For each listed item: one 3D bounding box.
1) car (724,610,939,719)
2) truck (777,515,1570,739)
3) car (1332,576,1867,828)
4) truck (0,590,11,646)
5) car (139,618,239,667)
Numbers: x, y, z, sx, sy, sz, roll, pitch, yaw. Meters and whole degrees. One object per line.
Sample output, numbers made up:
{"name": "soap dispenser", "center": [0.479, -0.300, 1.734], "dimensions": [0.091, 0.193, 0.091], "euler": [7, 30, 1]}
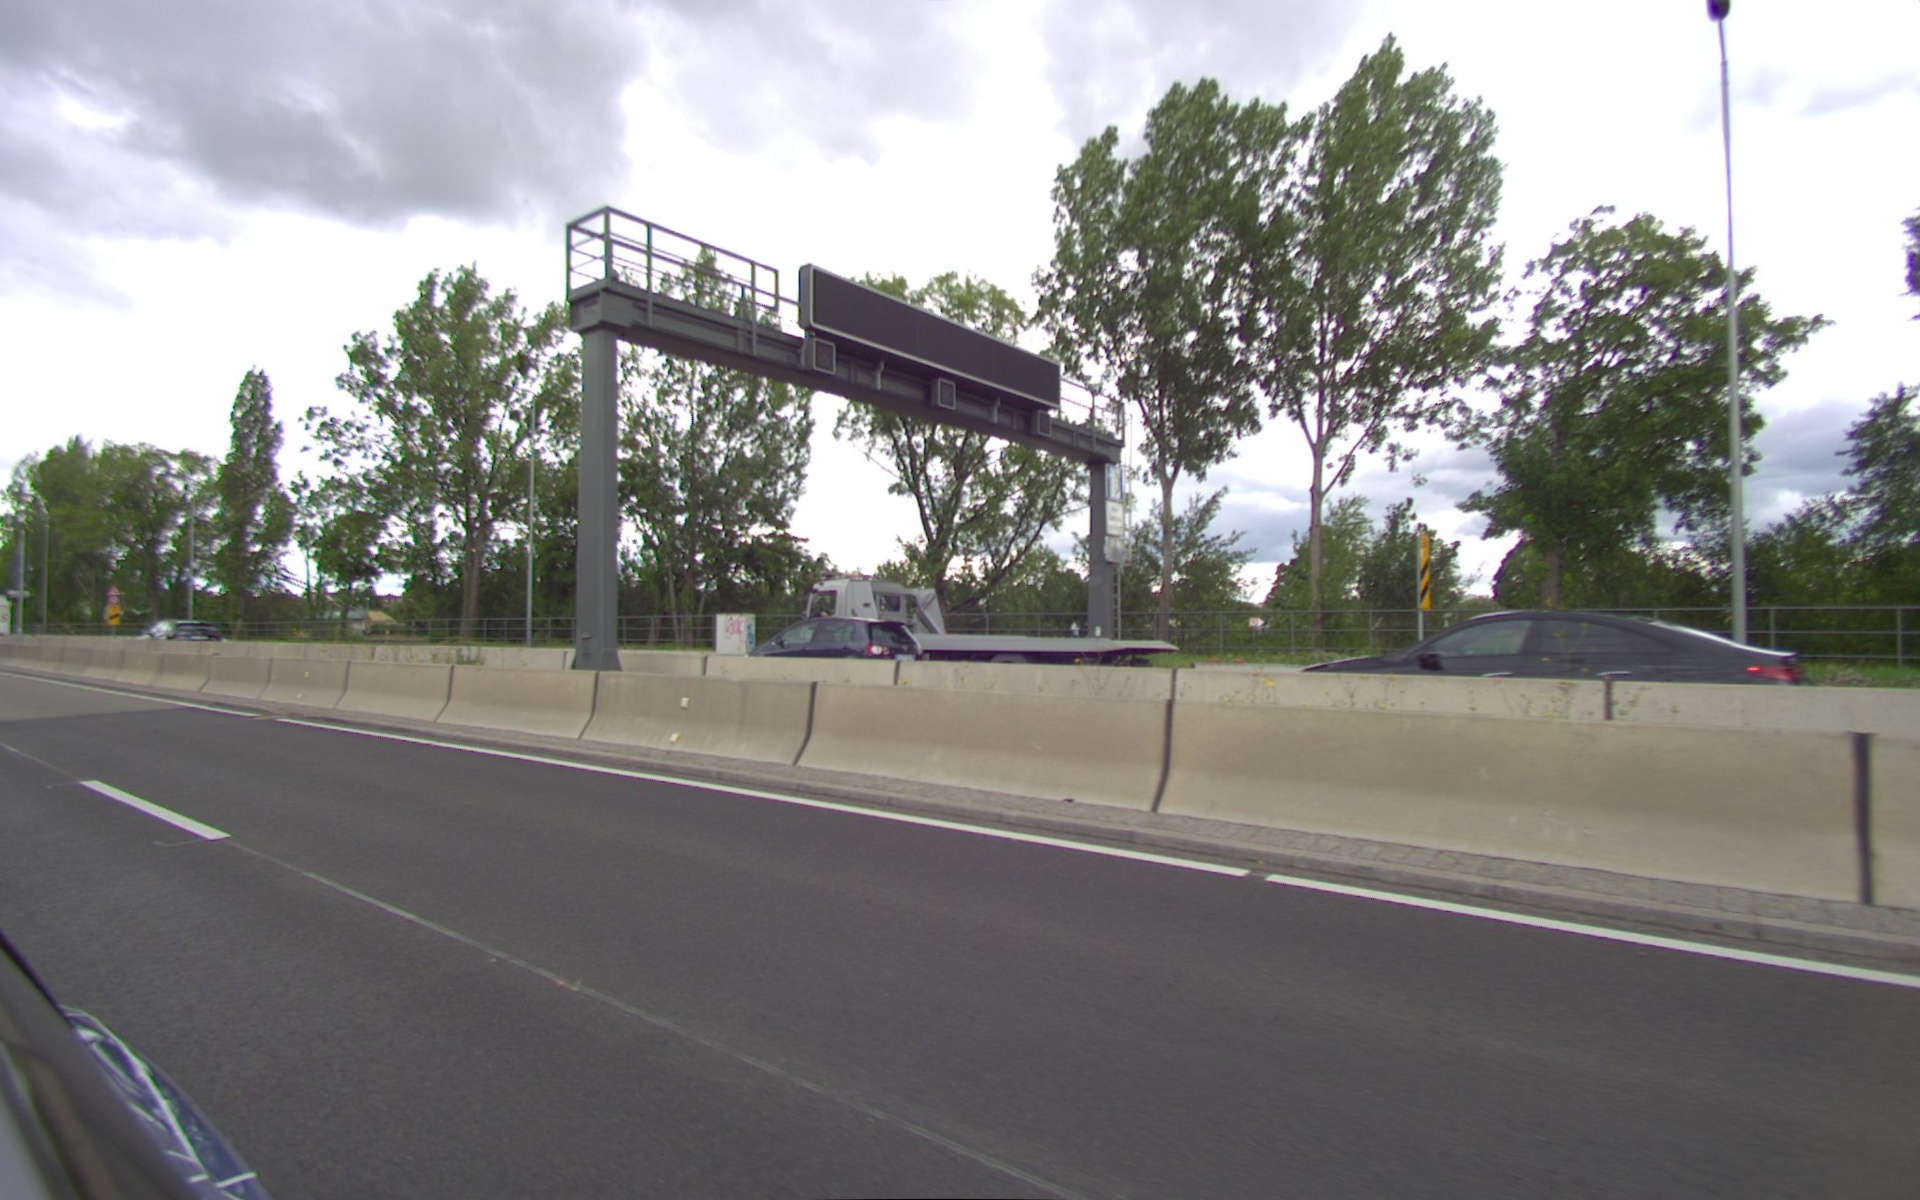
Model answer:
{"name": "car", "center": [-2.594, 1.210, 19.966], "dimensions": [4.094, 1.891, 1.800], "euler": [-2, 0, 38]}
{"name": "truck", "center": [2.755, 0.552, 20.193], "dimensions": [15.865, 3.130, 2.827], "euler": [-2, 0, 39]}
{"name": "car", "center": [5.904, 0.808, 9.686], "dimensions": [3.996, 1.918, 1.798], "euler": [-2, 0, 40]}
{"name": "truck", "center": [-57.180, 1.121, 58.489], "dimensions": [7.192, 3.130, 2.381], "euler": [-2, 0, 39]}
{"name": "car", "center": [-28.044, 1.530, 36.759], "dimensions": [4.451, 1.630, 1.907], "euler": [-2, 0, 40]}
